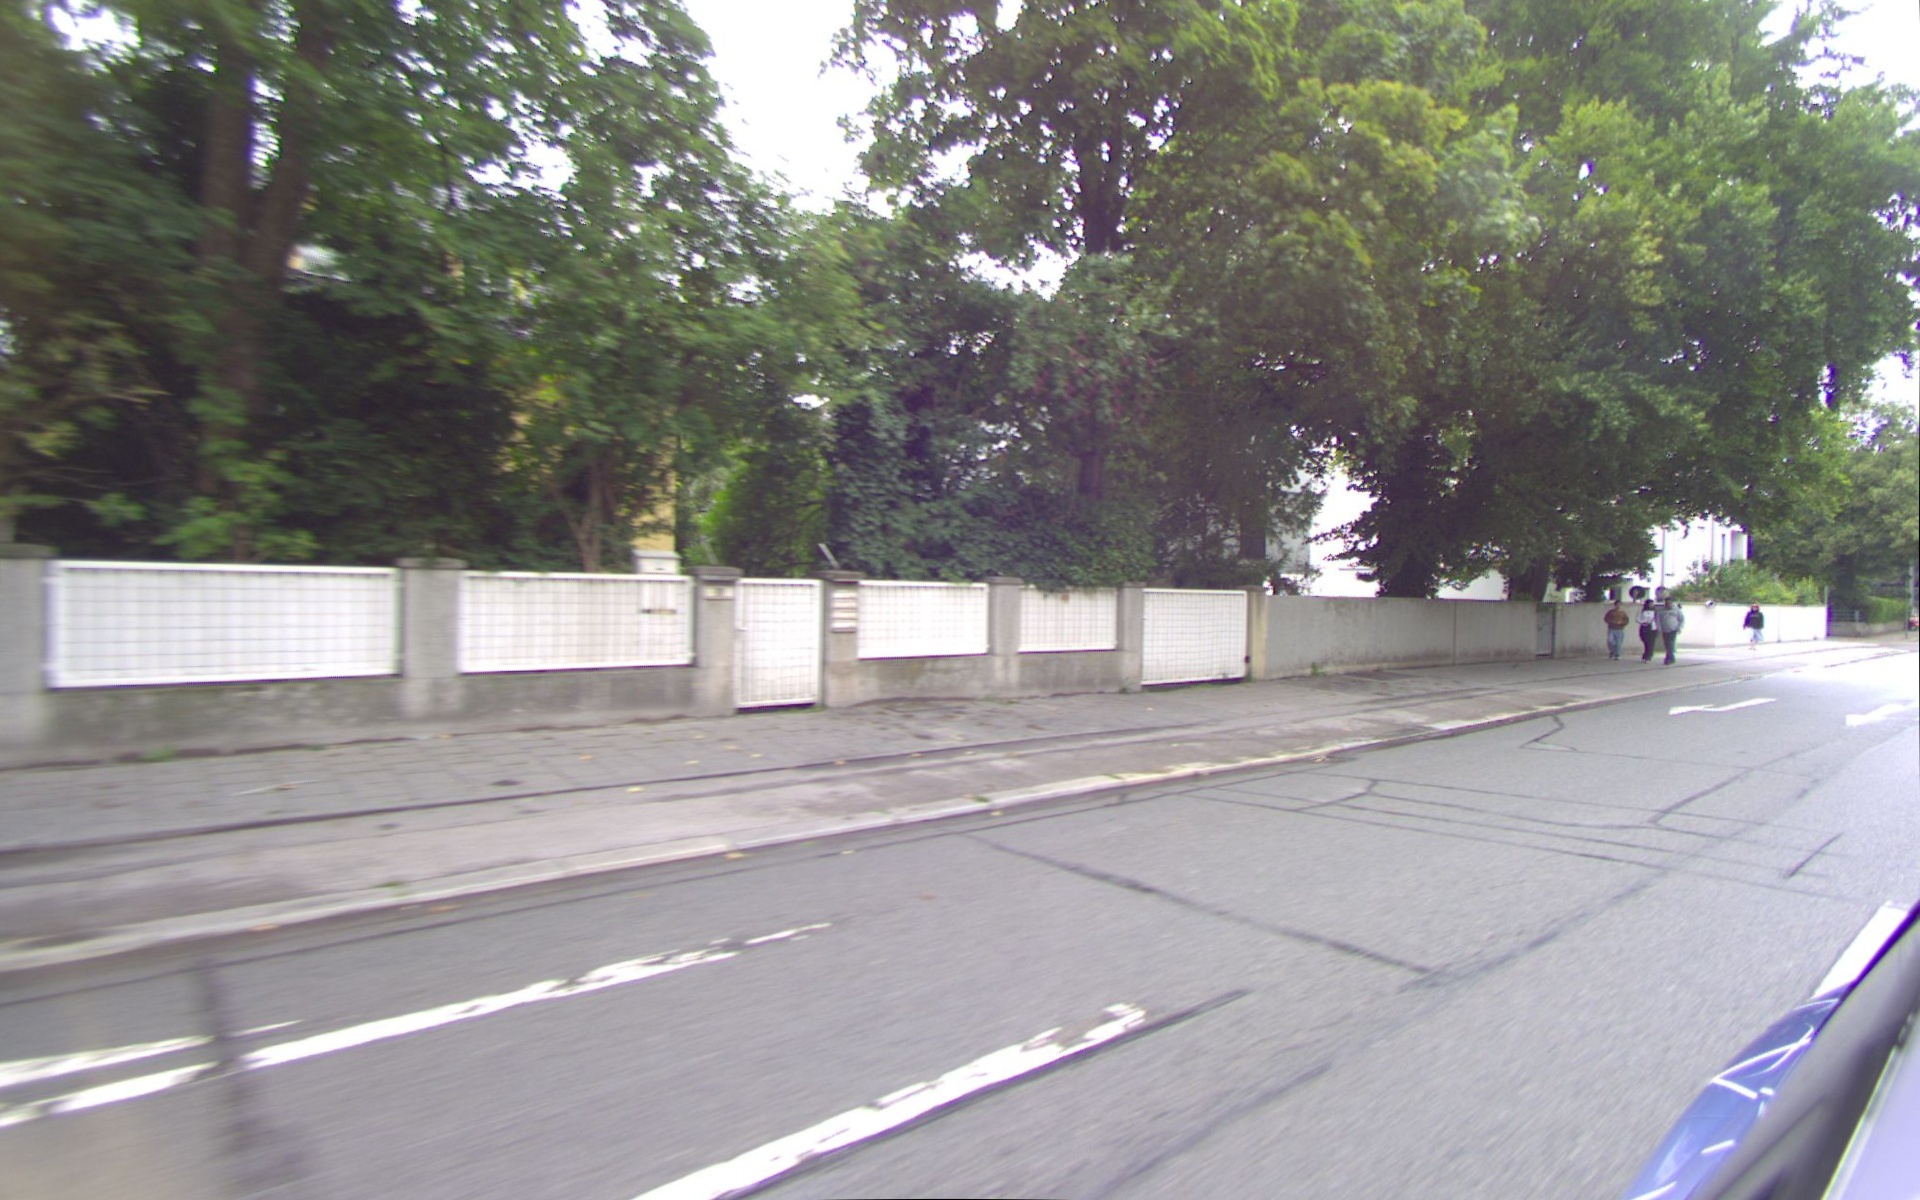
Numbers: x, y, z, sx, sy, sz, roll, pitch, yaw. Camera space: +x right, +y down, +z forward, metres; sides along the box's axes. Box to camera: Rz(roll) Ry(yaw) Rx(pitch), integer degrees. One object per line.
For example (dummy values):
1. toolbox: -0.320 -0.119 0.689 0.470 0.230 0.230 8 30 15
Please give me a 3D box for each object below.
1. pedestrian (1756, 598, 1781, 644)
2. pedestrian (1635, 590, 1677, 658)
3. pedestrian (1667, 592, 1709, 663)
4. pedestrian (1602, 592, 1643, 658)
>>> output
1. pedestrian: 29.418 0.758 36.837 0.716 1.600 0.529 1 2 -41
2. pedestrian: 18.228 0.608 26.508 0.716 1.713 0.667 1 2 -41
3. pedestrian: 18.658 0.698 25.939 0.716 1.744 0.667 1 2 -41
4. pedestrian: 17.763 0.658 27.121 0.753 1.726 0.667 1 2 -41
